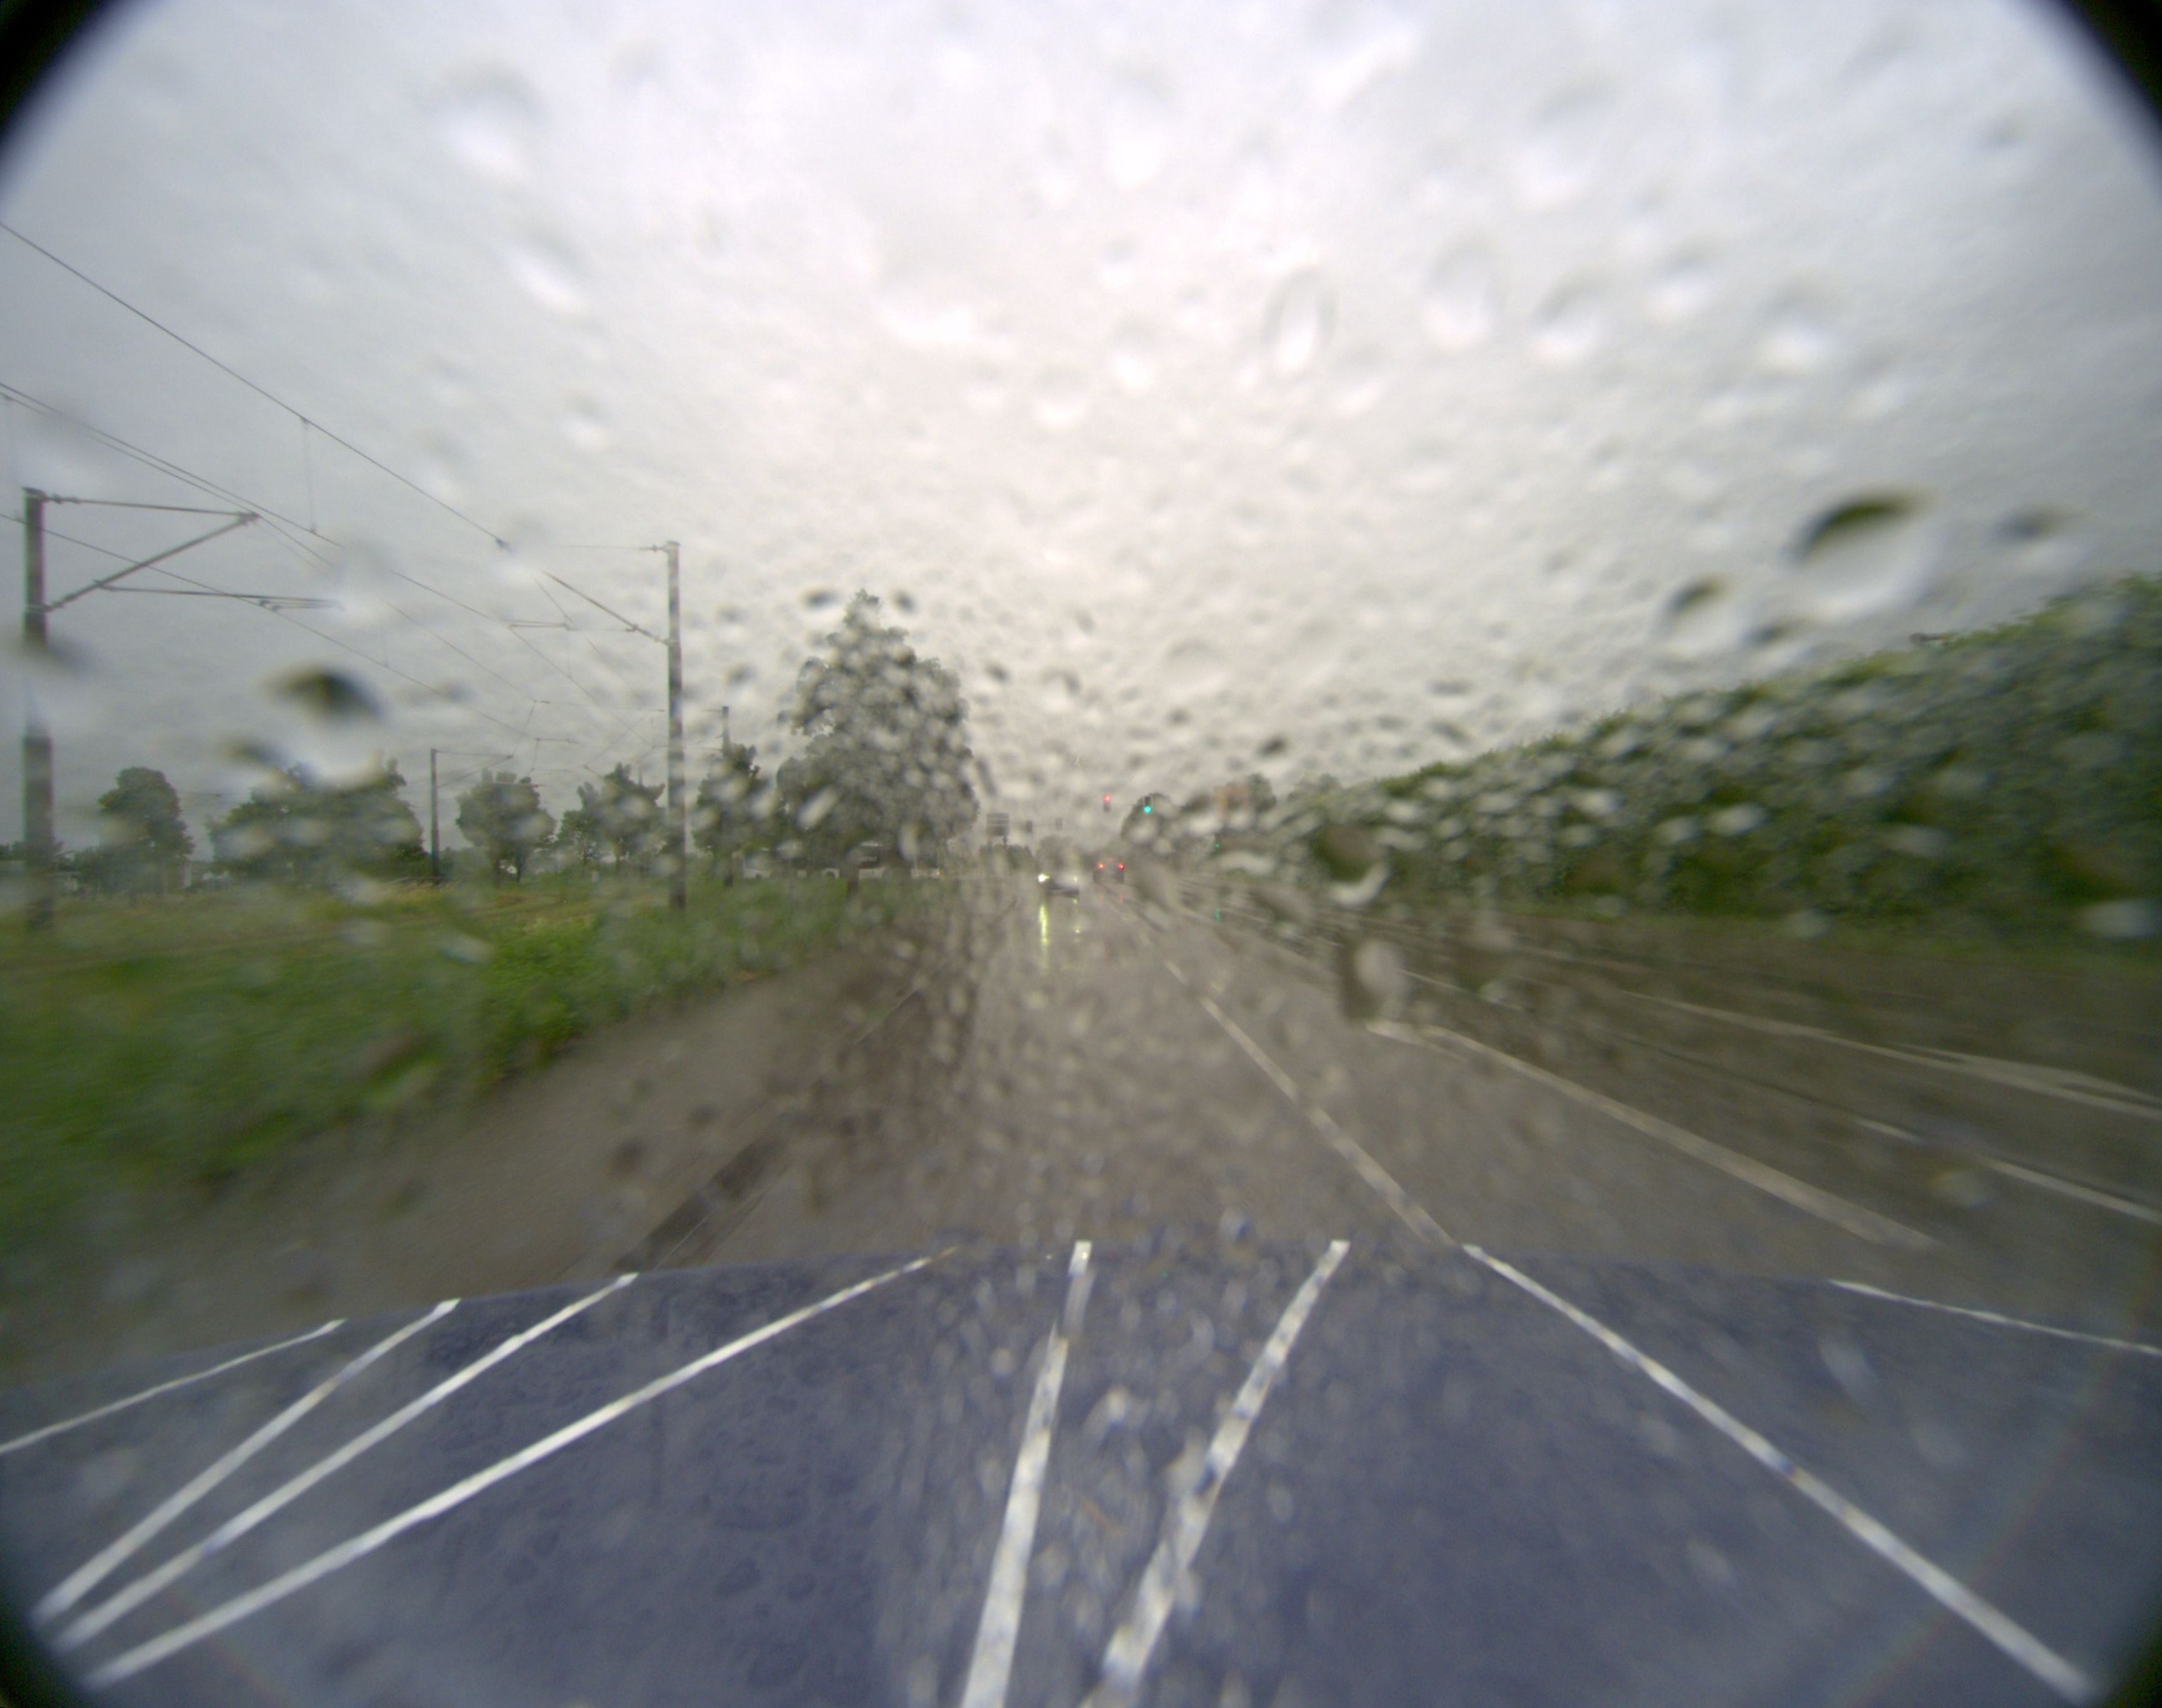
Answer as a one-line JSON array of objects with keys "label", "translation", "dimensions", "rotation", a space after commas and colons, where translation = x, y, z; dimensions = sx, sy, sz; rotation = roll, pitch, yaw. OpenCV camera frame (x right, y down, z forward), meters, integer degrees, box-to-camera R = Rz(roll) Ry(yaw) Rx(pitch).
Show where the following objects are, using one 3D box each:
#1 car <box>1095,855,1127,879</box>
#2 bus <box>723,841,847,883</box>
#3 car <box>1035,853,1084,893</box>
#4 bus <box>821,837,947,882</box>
[{"label": "car", "translation": [1.942, 0.822, 50.324], "dimensions": [1.767, 1.528, 3.875], "rotation": [0, 0, -3]}, {"label": "bus", "translation": [-23.448, 0.646, 60.047], "dimensions": [9.971, 3.059, 2.682], "rotation": [-1, 1, 23]}, {"label": "car", "translation": [-0.937, 0.783, 34.096], "dimensions": [1.999, 1.622, 3.999], "rotation": [-2, 0, -1]}, {"label": "bus", "translation": [-14.474, 0.423, 55.342], "dimensions": [9.967, 3.059, 2.683], "rotation": [-1, 1, 32]}]
